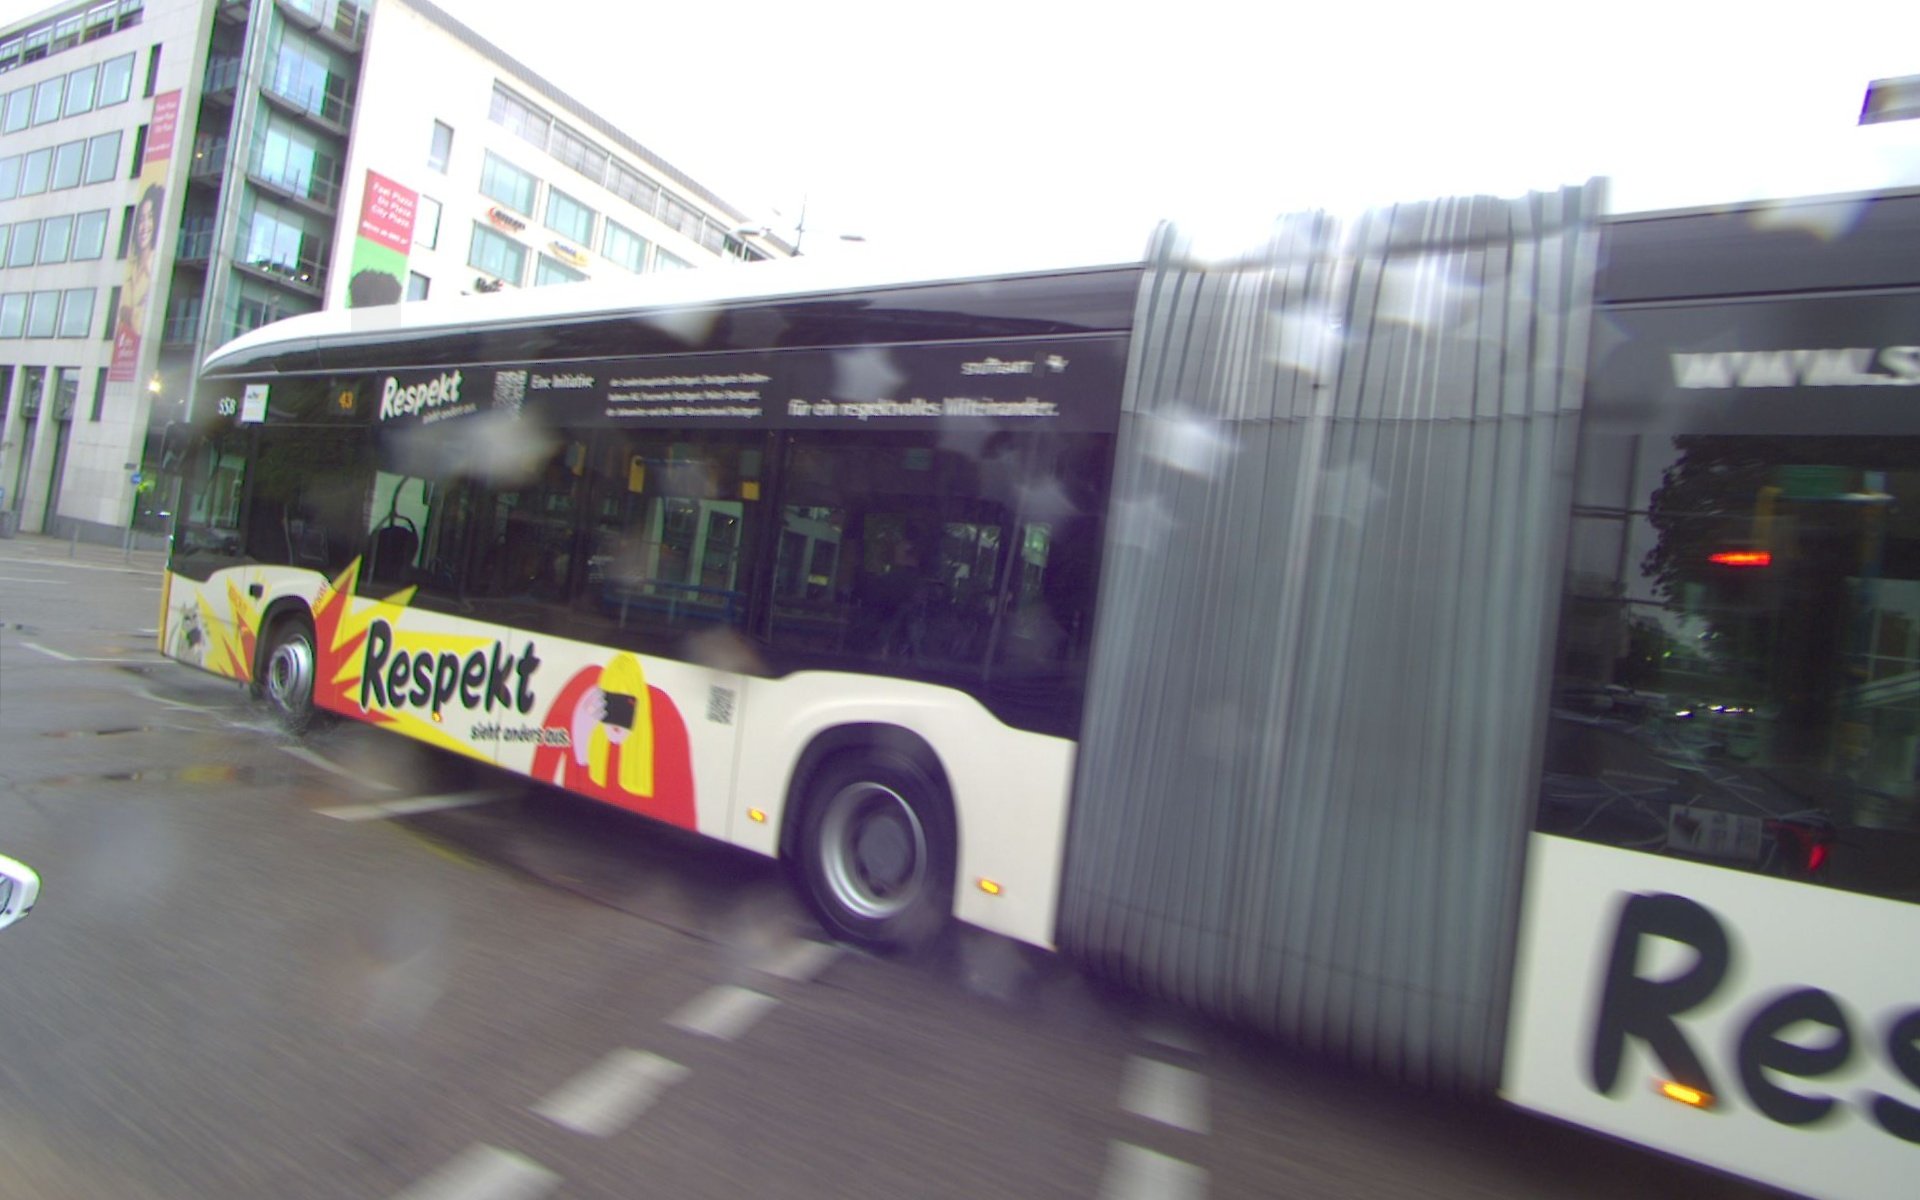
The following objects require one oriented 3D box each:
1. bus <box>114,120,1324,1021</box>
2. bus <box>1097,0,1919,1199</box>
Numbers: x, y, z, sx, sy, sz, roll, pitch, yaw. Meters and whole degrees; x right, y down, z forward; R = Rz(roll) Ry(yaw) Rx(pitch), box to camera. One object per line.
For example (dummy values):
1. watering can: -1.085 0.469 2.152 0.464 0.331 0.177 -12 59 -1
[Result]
1. bus: -2.670 -0.360 7.708 9.599 3.490 2.888 6 -2 33
2. bus: 5.468 0.474 2.387 9.552 3.479 2.888 6 -2 33
